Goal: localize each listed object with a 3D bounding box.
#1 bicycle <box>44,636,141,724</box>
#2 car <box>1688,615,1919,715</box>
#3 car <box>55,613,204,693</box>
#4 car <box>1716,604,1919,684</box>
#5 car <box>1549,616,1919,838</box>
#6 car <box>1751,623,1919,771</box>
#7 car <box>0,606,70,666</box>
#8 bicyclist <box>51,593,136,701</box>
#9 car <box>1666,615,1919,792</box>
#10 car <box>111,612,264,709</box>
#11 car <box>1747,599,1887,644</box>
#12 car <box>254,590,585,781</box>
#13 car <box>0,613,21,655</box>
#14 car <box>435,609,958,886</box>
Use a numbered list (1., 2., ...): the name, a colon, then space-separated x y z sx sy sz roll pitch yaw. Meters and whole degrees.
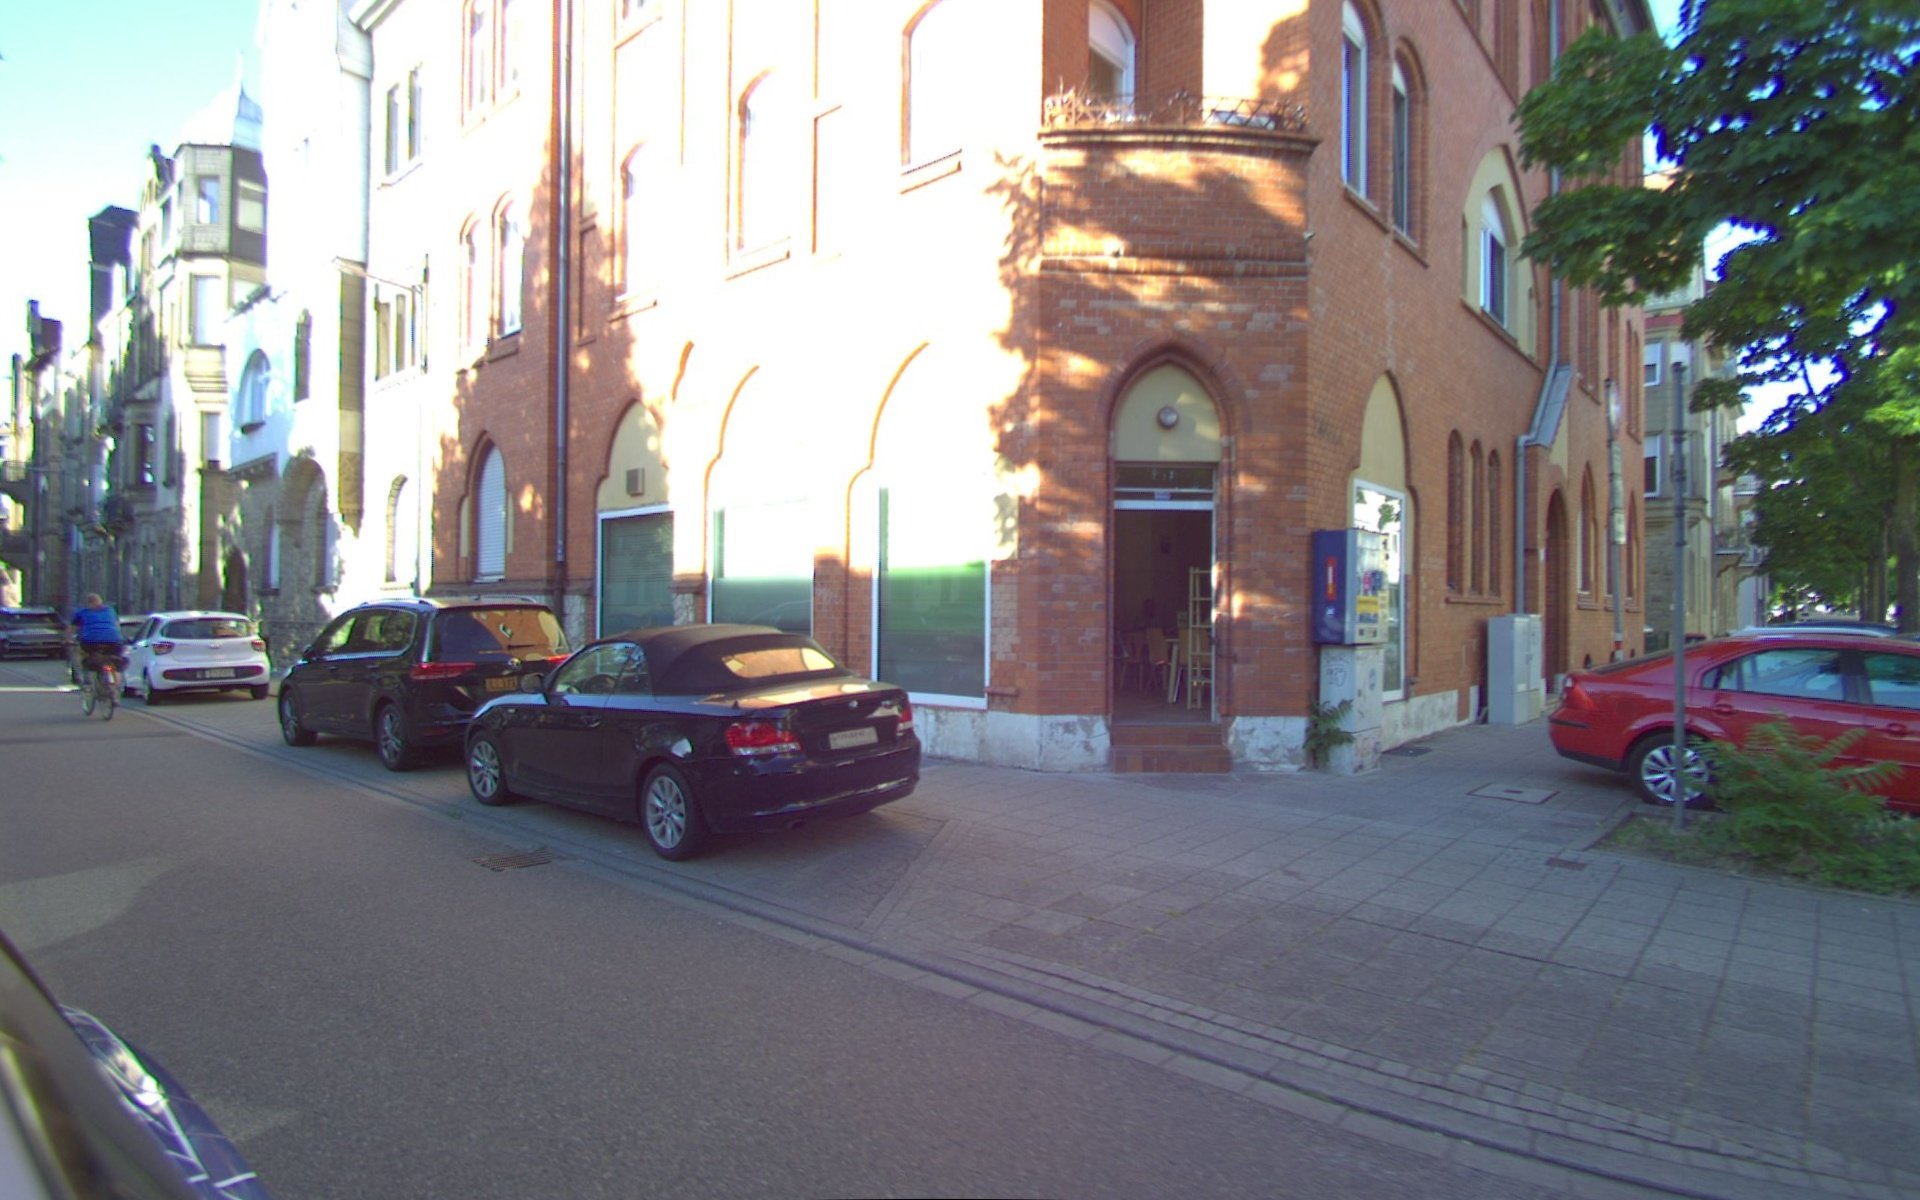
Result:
1. bicycle: -12.293 1.091 14.322 1.906 1.116 0.750 0 -1 41
2. car: 14.968 1.048 17.082 4.211 1.562 1.695 -1 -2 41
3. car: -17.240 1.034 20.946 4.108 1.453 1.660 -1 0 40
4. car: 18.346 0.881 20.936 4.211 1.562 1.695 -1 -2 42
5. car: 7.209 0.897 7.548 4.656 1.480 1.618 0 0 42
6. car: 11.056 1.044 10.914 3.914 1.523 1.695 0 -1 41
7. car: -29.348 1.082 31.557 4.337 1.730 1.856 -1 0 41
8. bicyclist: -12.248 0.640 14.299 0.948 1.465 0.751 0 -1 41
9. car: 9.243 0.929 9.426 4.211 1.562 1.695 -1 -2 41
10. car: -13.525 0.980 17.651 3.591 1.481 1.549 -1 0 43
11. car: 34.258 0.861 40.587 4.209 1.713 1.695 -1 -2 40
12. car: -5.980 0.755 10.965 4.346 1.693 1.652 0 0 40
13. car: -38.101 1.304 39.436 4.210 1.512 1.751 1 0 41
14. car: -2.175 0.822 7.540 4.332 1.421 1.618 0 2 42
